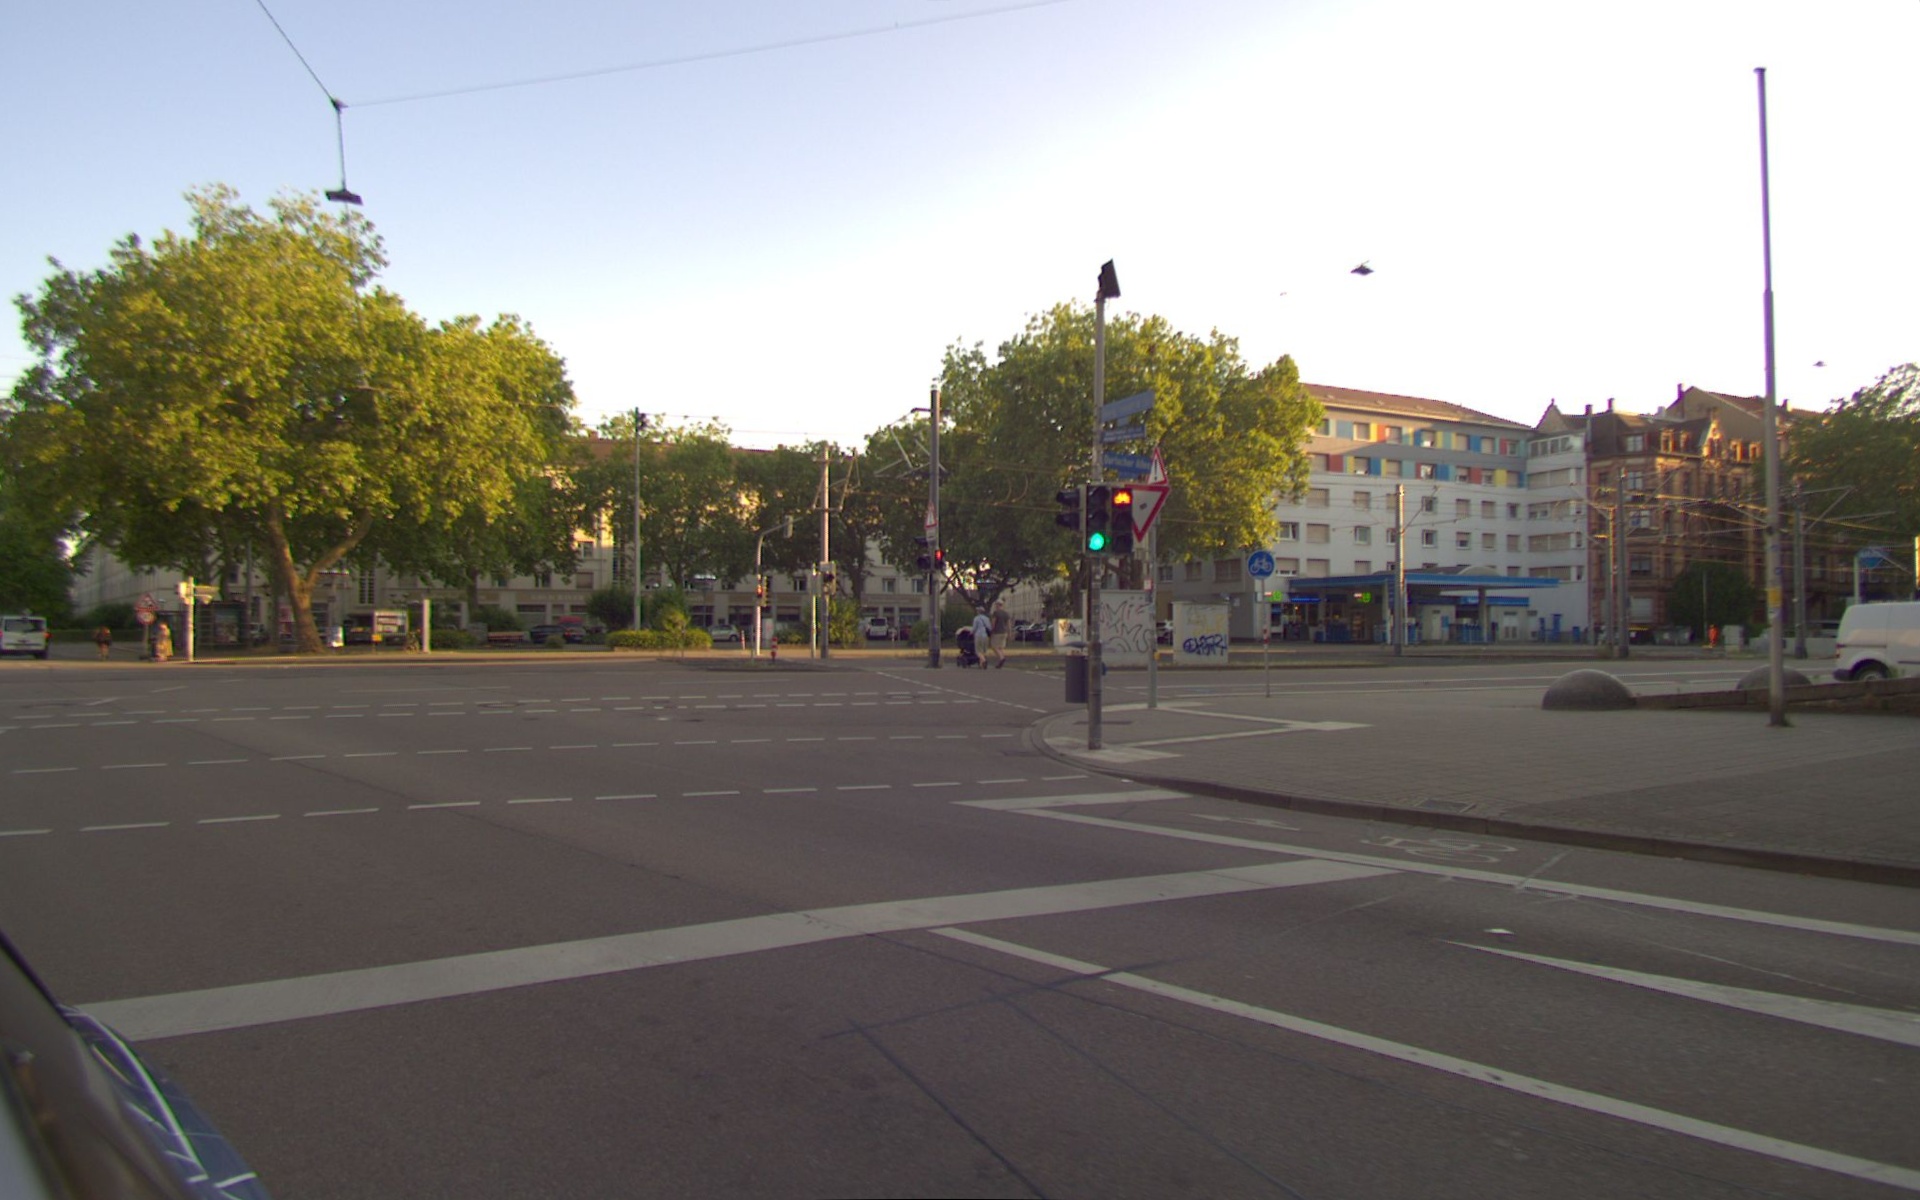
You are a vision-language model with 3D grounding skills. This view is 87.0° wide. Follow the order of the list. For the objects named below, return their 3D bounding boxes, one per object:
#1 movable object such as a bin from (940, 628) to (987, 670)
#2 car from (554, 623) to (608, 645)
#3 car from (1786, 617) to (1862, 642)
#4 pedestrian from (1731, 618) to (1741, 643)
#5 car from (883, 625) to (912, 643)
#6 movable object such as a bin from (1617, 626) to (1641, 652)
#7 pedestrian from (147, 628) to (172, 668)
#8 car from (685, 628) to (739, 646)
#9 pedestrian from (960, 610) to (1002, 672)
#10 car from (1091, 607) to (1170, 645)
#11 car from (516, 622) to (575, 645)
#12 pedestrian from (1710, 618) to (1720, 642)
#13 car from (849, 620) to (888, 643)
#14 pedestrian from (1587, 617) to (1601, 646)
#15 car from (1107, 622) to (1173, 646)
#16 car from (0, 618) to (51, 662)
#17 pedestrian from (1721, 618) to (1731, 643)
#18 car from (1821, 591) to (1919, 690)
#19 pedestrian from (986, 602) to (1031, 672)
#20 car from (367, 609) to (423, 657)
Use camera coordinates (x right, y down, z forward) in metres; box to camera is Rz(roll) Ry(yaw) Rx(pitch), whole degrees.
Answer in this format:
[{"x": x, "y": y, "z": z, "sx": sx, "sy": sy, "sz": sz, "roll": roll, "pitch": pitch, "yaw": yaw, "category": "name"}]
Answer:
[{"x": 0.095, "y": 1.344, "z": 28.182, "sx": 0.847, "sy": 1.128, "sz": 1.141, "roll": 1, "pitch": -2, "yaw": -28, "category": "movable object such as a bin"}, {"x": -30.699, "y": 2.723, "z": 82.062, "sx": 3.932, "sy": 1.719, "sz": 2.006, "roll": 0, "pitch": -2, "yaw": -15, "category": "car"}, {"x": 73.994, "y": 2.518, "z": 86.726, "sx": 1.965, "sy": 2.029, "sz": 4.508, "roll": 1, "pitch": -2, "yaw": -26, "category": "car"}, {"x": 57.153, "y": 2.236, "z": 74.561, "sx": 0.545, "sy": 1.840, "sz": 0.453, "roll": 1, "pitch": -2, "yaw": -41, "category": "pedestrian"}, {"x": -5.896, "y": 3.174, "z": 94.975, "sx": 1.733, "sy": 1.583, "sz": 3.598, "roll": 1, "pitch": -2, "yaw": -21, "category": "car"}, {"x": 53.151, "y": 3.109, "z": 80.430, "sx": 1.491, "sy": 2.029, "sz": 1.342, "roll": -2, "pitch": -2, "yaw": 37, "category": "movable object such as a bin"}, {"x": -33.306, "y": 1.989, "z": 42.112, "sx": 0.734, "sy": 1.641, "sz": 0.662, "roll": 0, "pitch": -2, "yaw": -32, "category": "pedestrian"}, {"x": -20.136, "y": 3.010, "z": 82.196, "sx": 3.931, "sy": 1.429, "sz": 1.815, "roll": 1, "pitch": -2, "yaw": -30, "category": "car"}, {"x": 0.567, "y": 1.094, "z": 27.165, "sx": 0.708, "sy": 1.646, "sz": 1.010, "roll": 1, "pitch": -2, "yaw": -28, "category": "pedestrian"}, {"x": 12.466, "y": 1.887, "z": 73.760, "sx": 5.482, "sy": 2.638, "sz": 2.006, "roll": 0, "pitch": -2, "yaw": -25, "category": "car"}, {"x": -31.944, "y": 2.599, "z": 78.074, "sx": 3.932, "sy": 1.719, "sz": 2.006, "roll": 0, "pitch": -2, "yaw": -15, "category": "car"}, {"x": 56.430, "y": 2.232, "z": 75.637, "sx": 0.545, "sy": 1.840, "sz": 0.453, "roll": 1, "pitch": -2, "yaw": -41, "category": "pedestrian"}, {"x": -7.498, "y": 2.586, "z": 82.638, "sx": 1.965, "sy": 1.851, "sz": 4.331, "roll": 0, "pitch": -2, "yaw": -22, "category": "car"}, {"x": 45.001, "y": 2.218, "z": 71.841, "sx": 0.598, "sy": 2.029, "sz": 0.560, "roll": 1, "pitch": -2, "yaw": -23, "category": "pedestrian"}, {"x": 11.970, "y": 2.253, "z": 67.425, "sx": 3.930, "sy": 1.586, "sz": 1.789, "roll": 0, "pitch": -2, "yaw": -21, "category": "car"}, {"x": -44.139, "y": 1.856, "z": 47.406, "sx": 4.596, "sy": 1.971, "sz": 1.965, "roll": -2, "pitch": -2, "yaw": 44, "category": "car"}, {"x": 56.961, "y": 2.254, "z": 75.289, "sx": 0.545, "sy": 1.840, "sz": 0.453, "roll": 1, "pitch": -2, "yaw": -41, "category": "pedestrian"}, {"x": 18.720, "y": 0.739, "z": 18.390, "sx": 1.557, "sy": 1.822, "sz": 4.420, "roll": 1, "pitch": -2, "yaw": -22, "category": "car"}, {"x": 1.307, "y": 0.997, "z": 27.373, "sx": 0.699, "sy": 1.861, "sz": 1.163, "roll": 1, "pitch": -2, "yaw": -28, "category": "pedestrian"}, {"x": -25.149, "y": 1.439, "z": 44.993, "sx": 1.837, "sy": 2.029, "sz": 3.820, "roll": 1, "pitch": -2, "yaw": -34, "category": "car"}]
